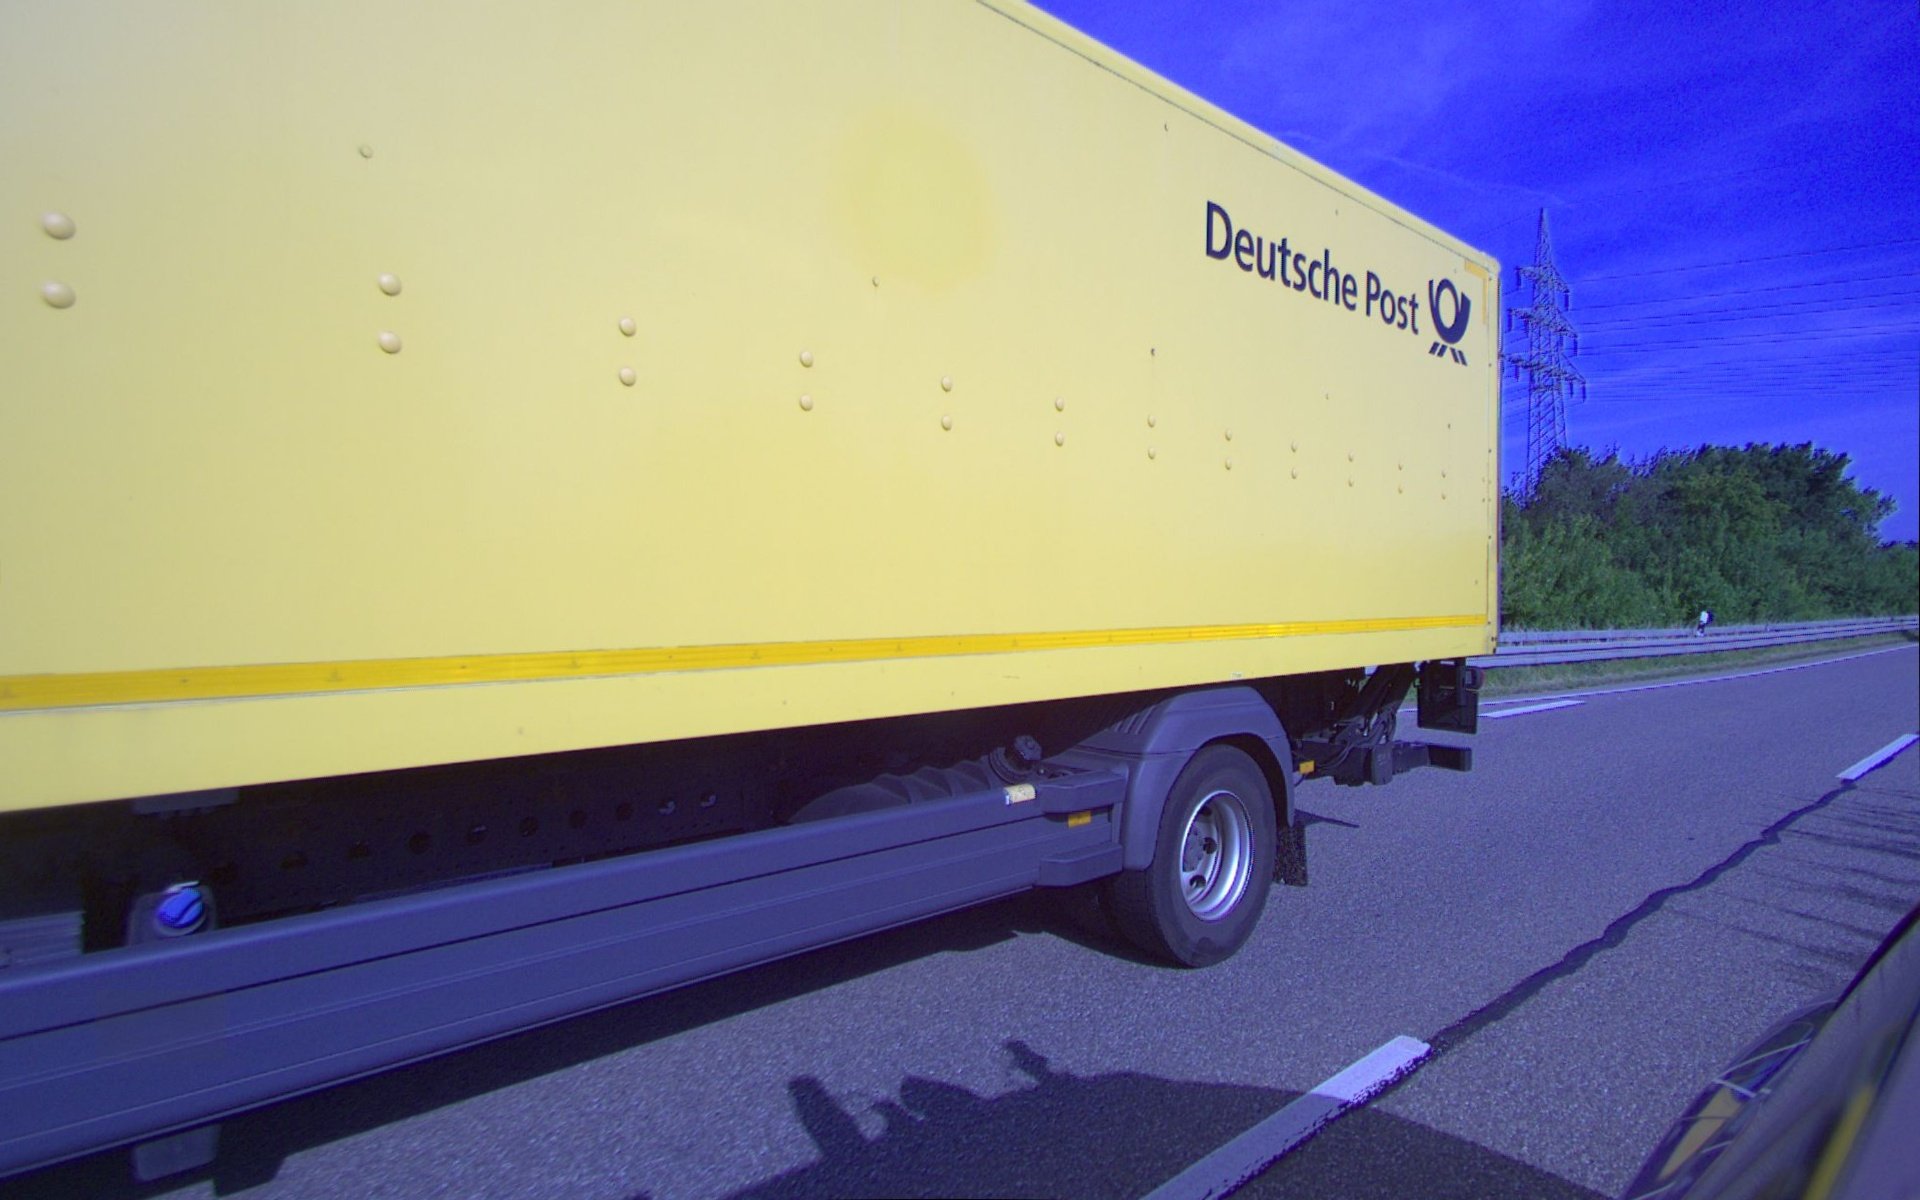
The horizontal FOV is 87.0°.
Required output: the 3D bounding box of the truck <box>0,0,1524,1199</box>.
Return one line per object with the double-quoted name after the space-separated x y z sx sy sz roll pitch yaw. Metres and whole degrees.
-1.658 -0.329 3.244 10.306 3.359 2.783 0 0 -41 "truck"
